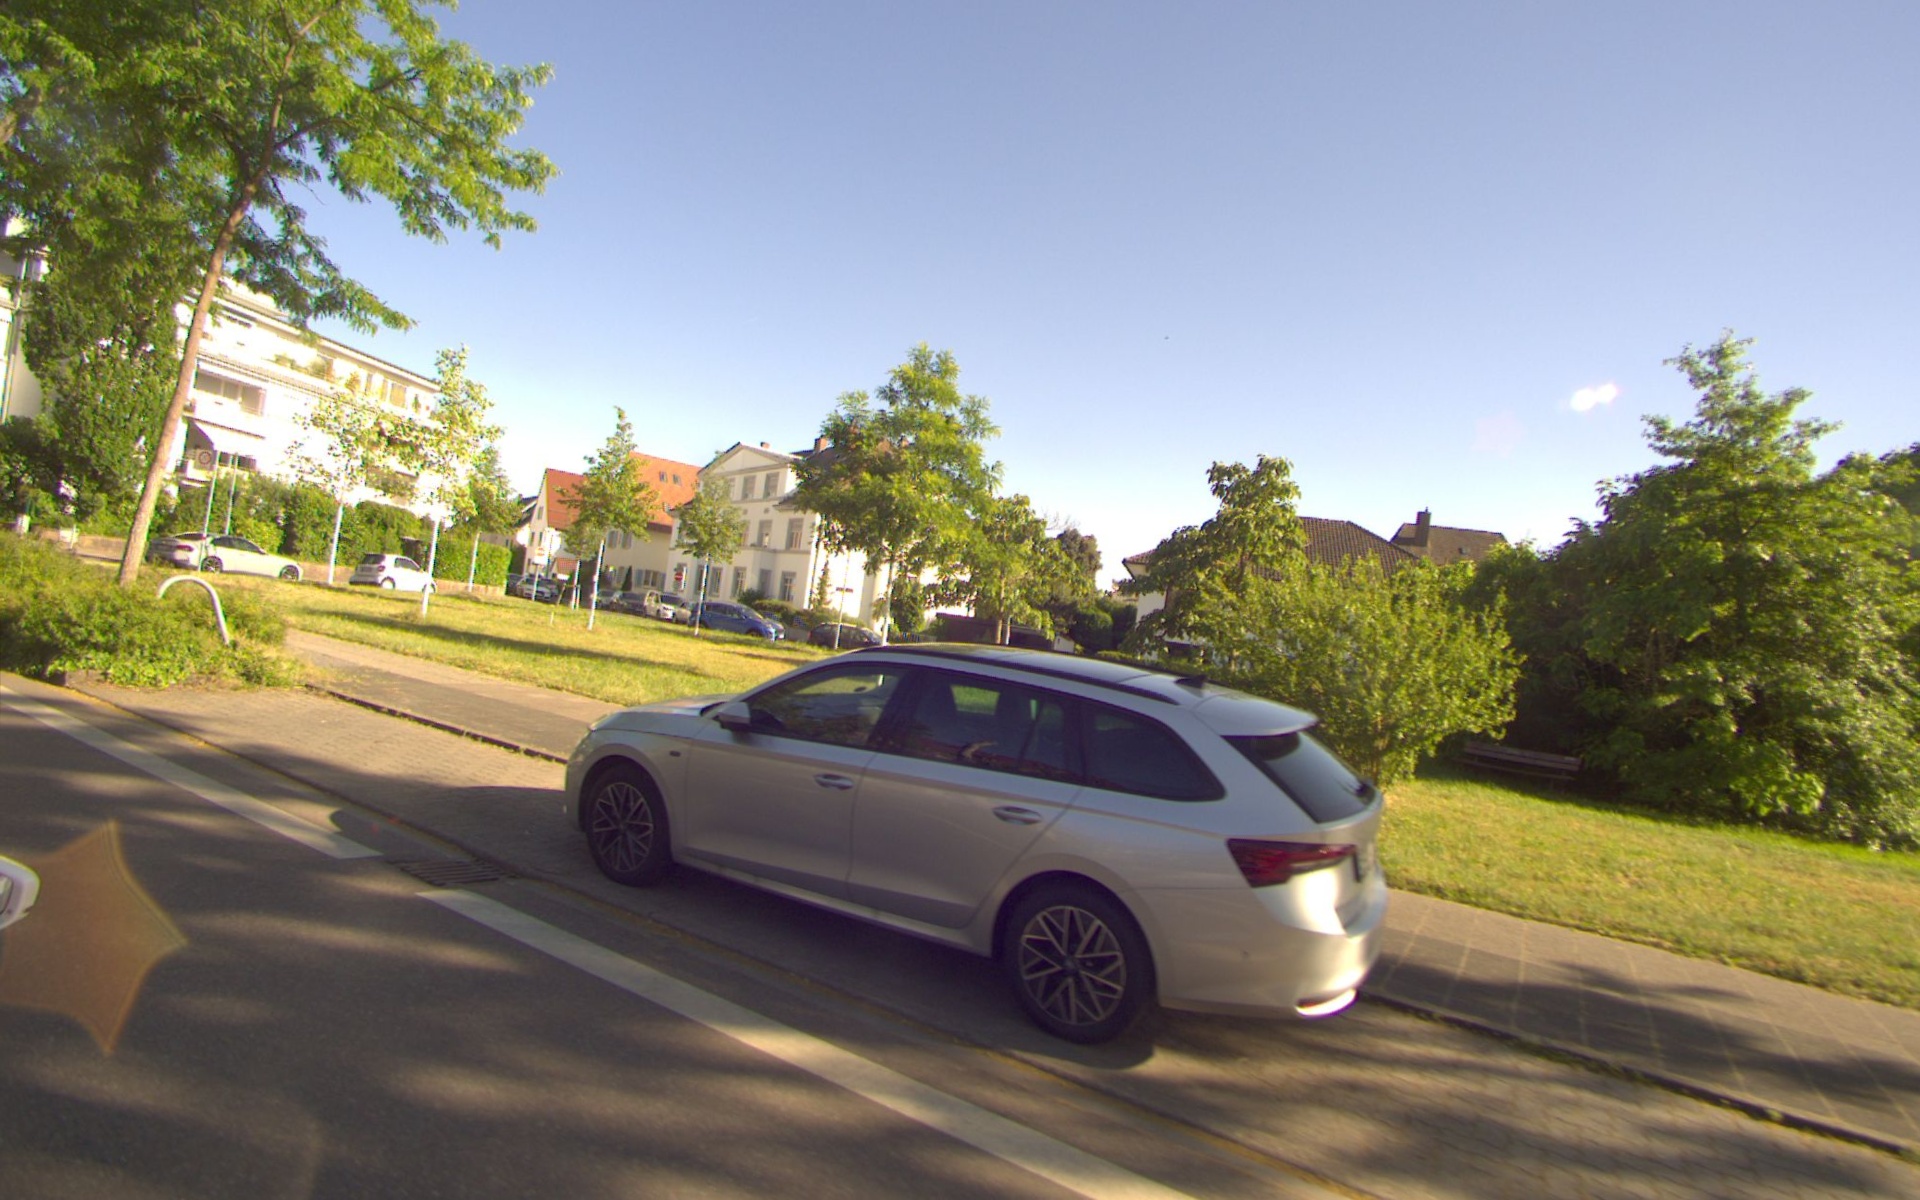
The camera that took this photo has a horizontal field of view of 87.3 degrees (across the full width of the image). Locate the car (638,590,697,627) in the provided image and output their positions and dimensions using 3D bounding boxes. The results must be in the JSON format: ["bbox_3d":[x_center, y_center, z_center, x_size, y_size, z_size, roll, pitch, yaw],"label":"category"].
[{"bbox_3d":[-17.924,0.470,61.528,1.982,1.862,4.518,9,-3,-34],"label":"car"}]

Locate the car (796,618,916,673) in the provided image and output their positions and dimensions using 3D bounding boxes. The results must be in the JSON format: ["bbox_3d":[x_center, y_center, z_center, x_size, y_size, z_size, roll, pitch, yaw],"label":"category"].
[{"bbox_3d":[-4.537,2.000,44.088,4.676,1.668,2.004,7,-3,11],"label":"car"}]

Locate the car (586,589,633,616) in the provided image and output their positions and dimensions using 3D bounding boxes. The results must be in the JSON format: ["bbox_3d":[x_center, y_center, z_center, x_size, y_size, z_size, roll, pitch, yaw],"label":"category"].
[{"bbox_3d":[-25.371,0.152,72.706,1.984,1.537,3.961,9,-2,-36],"label":"car"}]

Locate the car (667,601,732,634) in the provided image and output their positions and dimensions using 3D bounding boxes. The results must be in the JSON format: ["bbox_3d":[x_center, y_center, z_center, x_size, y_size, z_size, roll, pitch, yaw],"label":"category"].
[{"bbox_3d":[-14.799,0.982,57.015,1.982,1.444,4.722,9,-3,-34],"label":"car"}]

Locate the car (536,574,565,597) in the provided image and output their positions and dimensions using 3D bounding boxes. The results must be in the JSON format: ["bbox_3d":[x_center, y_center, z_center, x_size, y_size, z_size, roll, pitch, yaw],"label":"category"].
[{"bbox_3d":[-36.488,-1.269,89.506,1.859,1.727,4.261,9,-2,-27],"label":"car"}]

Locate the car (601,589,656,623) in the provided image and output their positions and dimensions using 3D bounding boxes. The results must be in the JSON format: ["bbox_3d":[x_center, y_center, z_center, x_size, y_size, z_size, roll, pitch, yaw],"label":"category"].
[{"bbox_3d":[-22.481,0.367,68.147,1.984,1.805,4.557,9,-3,-36],"label":"car"}]

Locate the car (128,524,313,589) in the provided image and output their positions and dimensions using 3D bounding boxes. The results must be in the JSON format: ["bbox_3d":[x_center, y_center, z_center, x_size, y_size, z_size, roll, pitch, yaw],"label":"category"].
[{"bbox_3d":[-23.753,-1.349,32.547,1.931,1.384,4.531,7,-2,14],"label":"car"}]

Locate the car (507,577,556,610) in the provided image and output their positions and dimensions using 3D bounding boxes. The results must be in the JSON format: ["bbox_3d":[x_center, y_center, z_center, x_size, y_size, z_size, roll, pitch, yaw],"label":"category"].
[{"bbox_3d":[-28.777,-0.453,67.493,2.035,1.727,4.248,9,-3,-35],"label":"car"}]

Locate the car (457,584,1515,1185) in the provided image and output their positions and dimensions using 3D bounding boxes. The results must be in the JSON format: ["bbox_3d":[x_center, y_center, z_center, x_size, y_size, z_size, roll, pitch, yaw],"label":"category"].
[{"bbox_3d":[-0.126,0.945,5.458,5.341,1.484,2.002,6,1,30],"label":"car"}]

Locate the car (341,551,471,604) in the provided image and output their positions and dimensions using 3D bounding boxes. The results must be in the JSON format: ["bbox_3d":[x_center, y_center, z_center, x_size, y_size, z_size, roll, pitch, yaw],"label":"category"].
[{"bbox_3d":[-21.765,-0.843,39.722,1.806,1.527,4.299,5,-3,20],"label":"car"}]

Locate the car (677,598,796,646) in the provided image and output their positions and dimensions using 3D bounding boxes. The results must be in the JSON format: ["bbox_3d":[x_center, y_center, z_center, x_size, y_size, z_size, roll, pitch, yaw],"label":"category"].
[{"bbox_3d":[-10.077,1.015,45.520,4.665,1.487,2.068,7,-2,12],"label":"car"}]
